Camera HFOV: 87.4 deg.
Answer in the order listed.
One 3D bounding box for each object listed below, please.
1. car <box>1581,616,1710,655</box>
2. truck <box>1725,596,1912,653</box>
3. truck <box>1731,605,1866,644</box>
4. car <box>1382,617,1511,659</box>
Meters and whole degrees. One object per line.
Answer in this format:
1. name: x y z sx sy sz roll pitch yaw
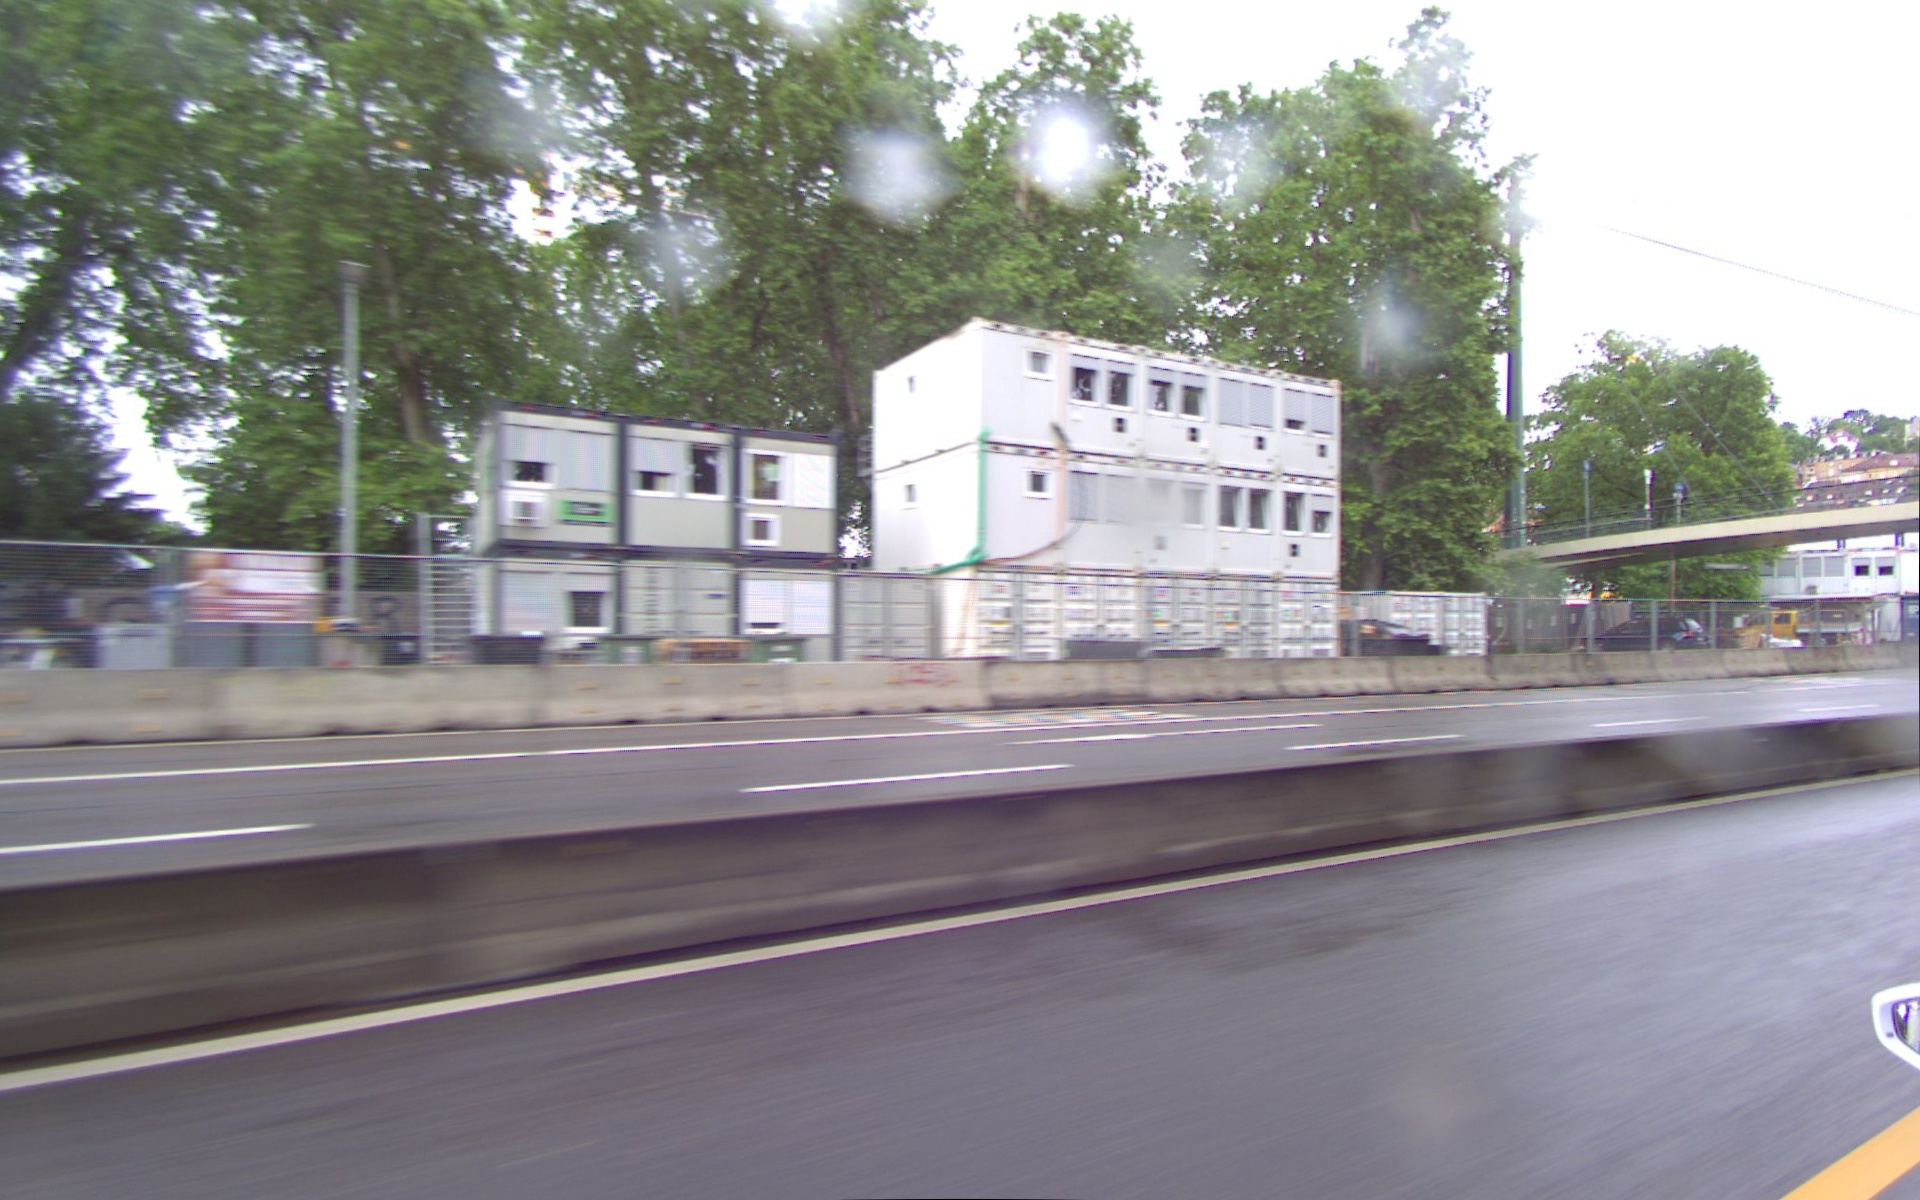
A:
1. car: 30.433 1.556 44.705 1.940 1.649 4.392 1 -2 -36
2. truck: 40.102 1.174 47.125 2.667 2.484 6.237 2 -2 -34
3. truck: 45.218 1.333 54.308 2.139 2.040 5.220 1 -2 -32
4. car: 18.098 1.416 37.556 1.975 1.462 3.971 1 -2 -28
